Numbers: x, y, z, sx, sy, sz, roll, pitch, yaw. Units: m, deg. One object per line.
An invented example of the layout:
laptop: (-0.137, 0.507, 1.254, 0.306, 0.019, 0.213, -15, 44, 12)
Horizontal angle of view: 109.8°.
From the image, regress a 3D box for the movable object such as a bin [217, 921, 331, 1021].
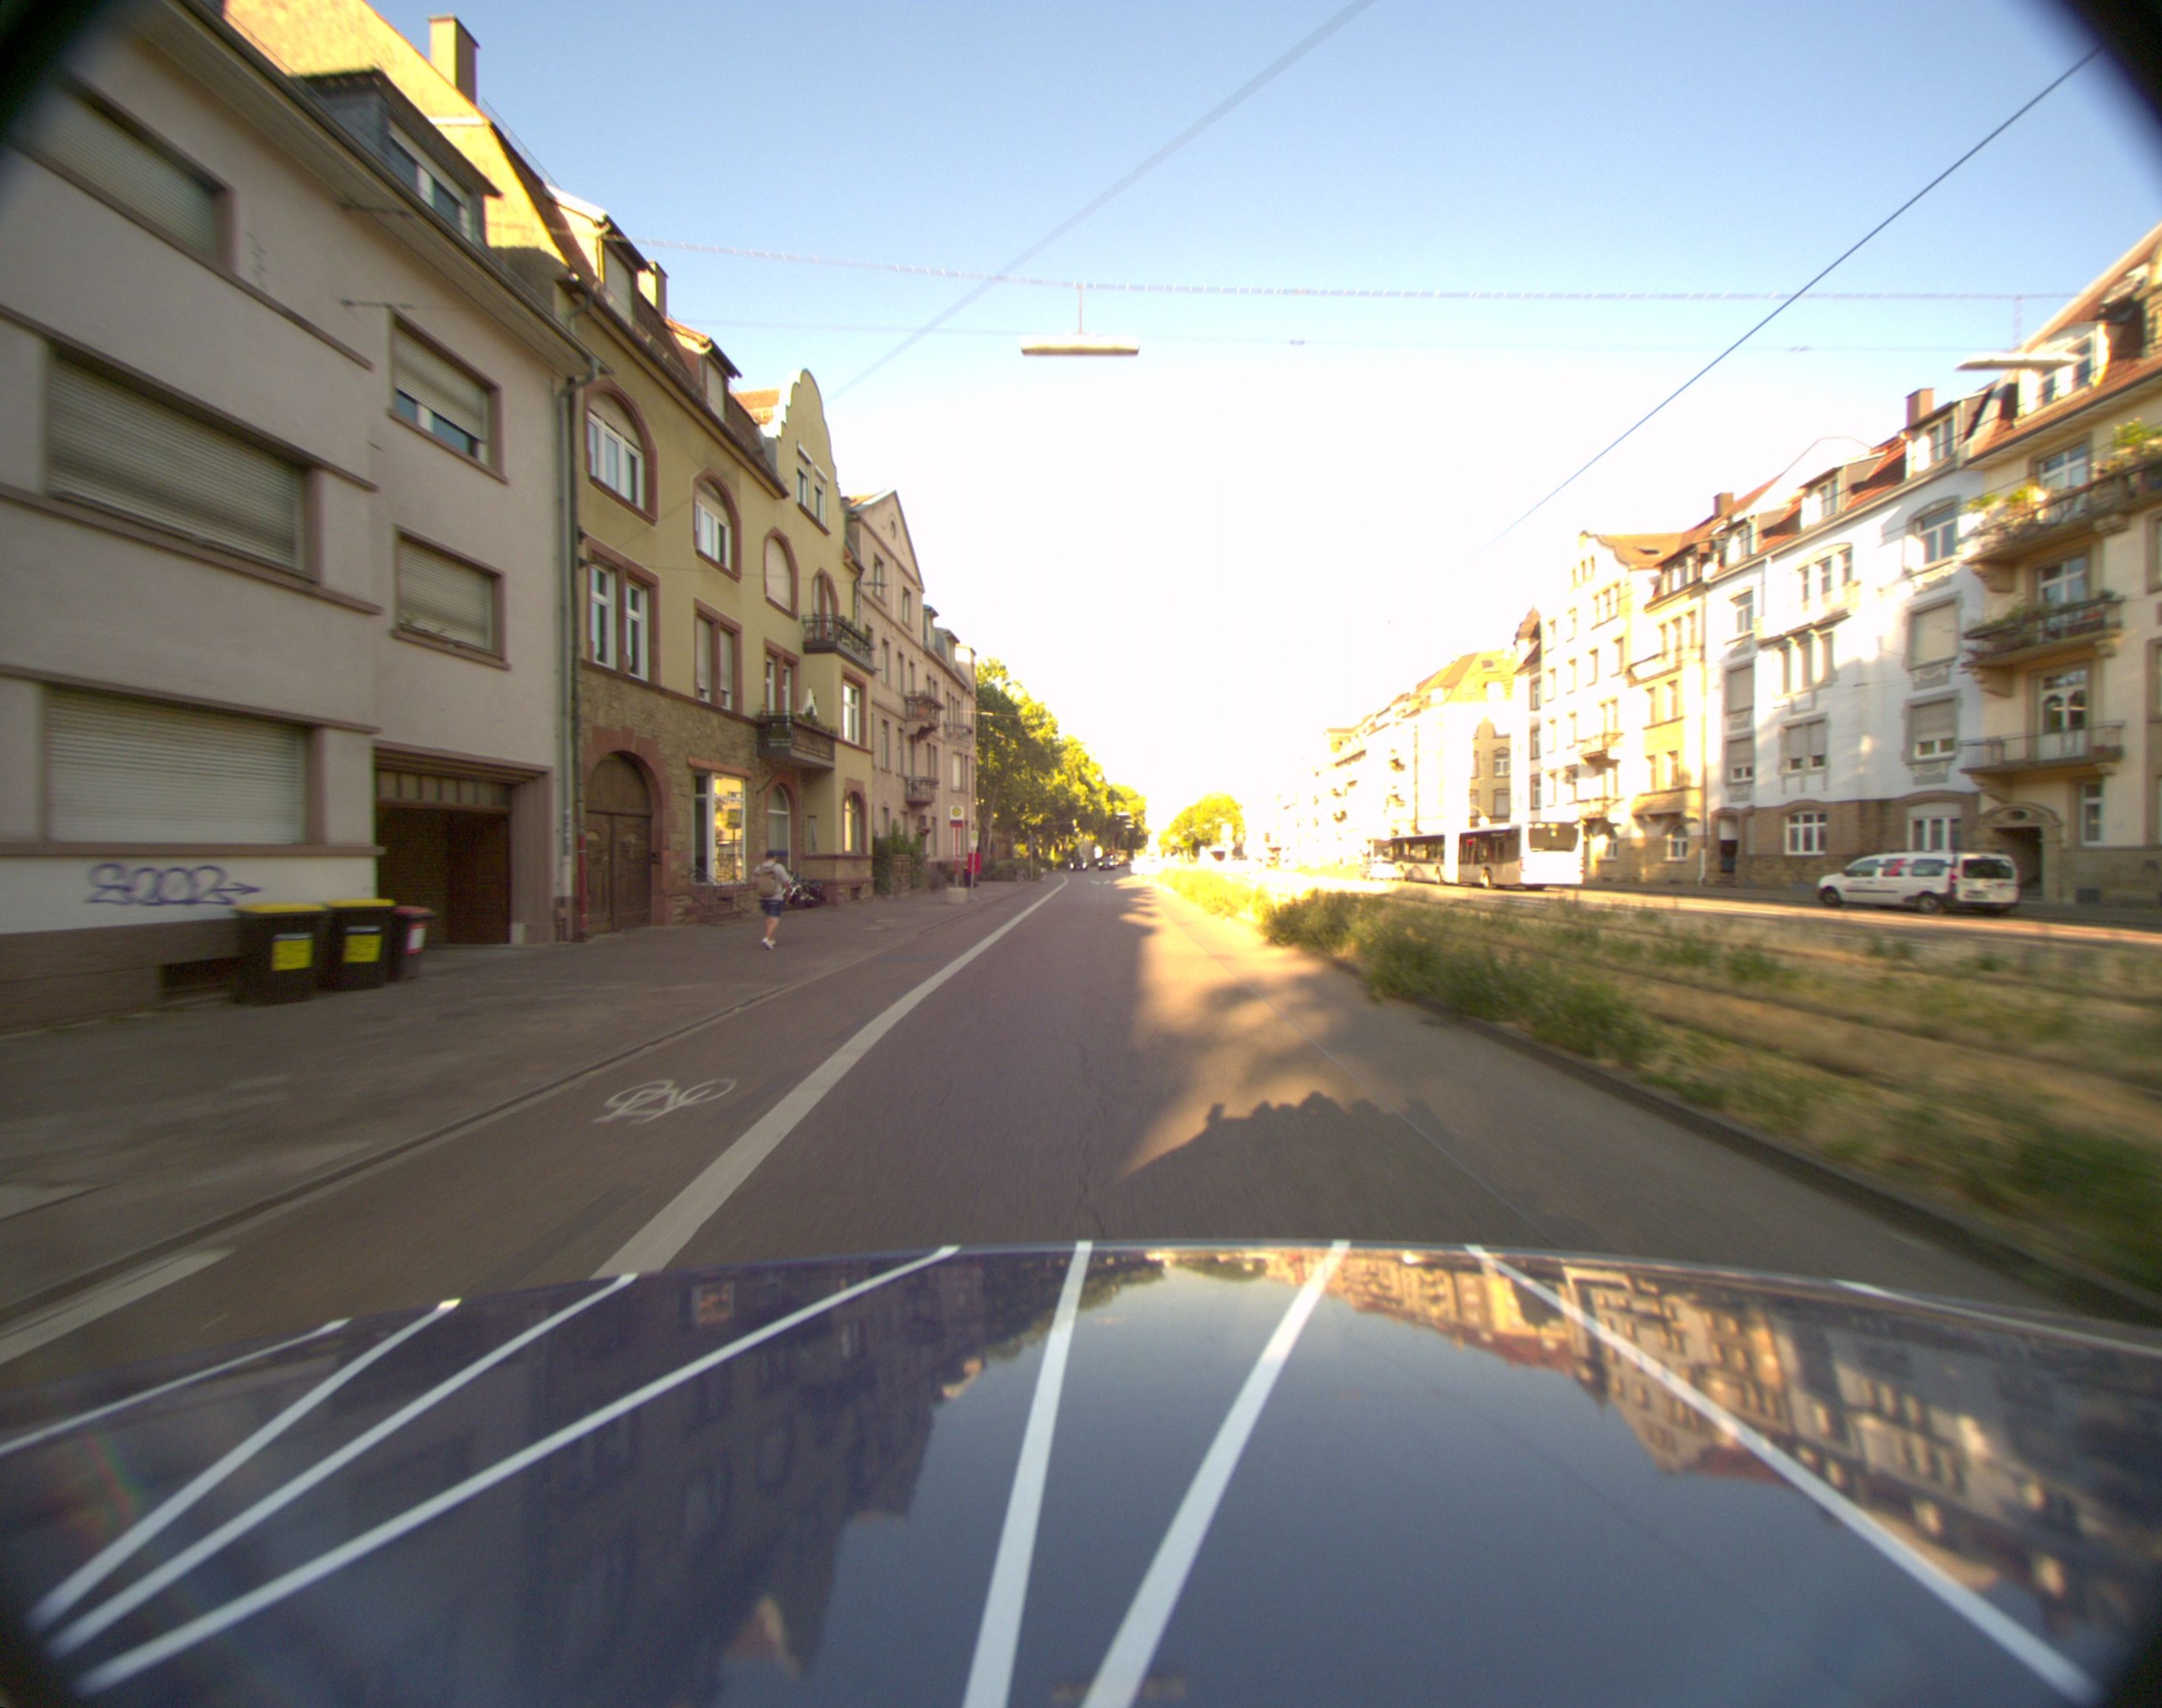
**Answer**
movable object such as a bin: (-8.543, 1.220, 8.059, 0.555, 0.964, 0.585, 0, 1, 6)

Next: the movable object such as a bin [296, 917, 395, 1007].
movable object such as a bin: (-8.568, 1.242, 8.869, 0.555, 0.964, 0.585, 0, 1, 6)

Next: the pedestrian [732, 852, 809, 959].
pedestrian: (-5.494, 0.885, 13.527, 0.830, 1.802, 1.150, 0, 1, 3)

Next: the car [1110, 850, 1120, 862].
car: (6.558, 0.392, 145.962, 1.877, 2.279, 4.001, 0, 0, 5)

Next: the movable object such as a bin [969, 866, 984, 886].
movable object such as a bin: (-5.520, 1.149, 40.099, 0.570, 1.040, 0.660, 0, 1, 17)

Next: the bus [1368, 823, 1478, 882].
bus: (21.601, -0.160, 48.824, 3.272, 3.355, 9.900, 0, 1, 5)

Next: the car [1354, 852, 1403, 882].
car: (18.352, 0.760, 47.024, 1.933, 1.674, 4.002, 0, 1, 8)

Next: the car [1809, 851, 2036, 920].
car: (24.737, 0.845, 22.662, 1.908, 1.776, 4.654, 0, 1, 6)

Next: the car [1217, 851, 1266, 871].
car: (14.212, 0.647, 67.509, 3.996, 1.696, 1.836, 0, 1, 3)

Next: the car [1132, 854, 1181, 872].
car: (6.513, 0.798, 65.476, 4.049, 1.517, 1.783, 0, 1, 11)

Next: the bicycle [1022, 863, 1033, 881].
bicycle: (-3.386, 1.131, 48.189, 0.370, 1.062, 1.874, 0, 0, 4)

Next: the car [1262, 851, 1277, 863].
car: (30.979, 0.437, 125.006, 1.918, 1.889, 4.311, 0, 1, 6)

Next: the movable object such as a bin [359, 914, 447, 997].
movable object such as a bin: (-8.578, 1.268, 9.626, 0.555, 0.964, 0.585, 0, 1, 6)

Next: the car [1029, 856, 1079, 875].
car: (-2.307, 1.003, 66.412, 4.123, 1.565, 1.717, 0, 1, 7)

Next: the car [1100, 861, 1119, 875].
car: (3.593, 1.745, 95.175, 1.877, 1.586, 4.003, 0, 0, 8)

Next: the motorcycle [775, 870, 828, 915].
motorcycle: (-8.150, 1.098, 22.270, 0.591, 1.131, 2.505, 0, 1, 1)

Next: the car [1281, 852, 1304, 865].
car: (24.412, 0.520, 87.785, 1.733, 1.471, 3.822, 0, 0, 29)

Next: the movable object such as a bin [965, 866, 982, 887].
movable object such as a bin: (-5.562, 1.163, 39.406, 0.656, 1.040, 0.660, 0, 1, 17)

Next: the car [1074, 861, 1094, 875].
car: (0.368, 1.698, 93.798, 1.877, 1.586, 4.003, 0, 0, 8)

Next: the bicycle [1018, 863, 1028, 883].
bicycle: (-3.443, 1.118, 45.112, 0.438, 1.092, 1.932, 0, 0, 0)

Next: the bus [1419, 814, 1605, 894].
bus: (20.750, -0.097, 37.882, 3.262, 3.355, 11.979, 0, 1, 4)
